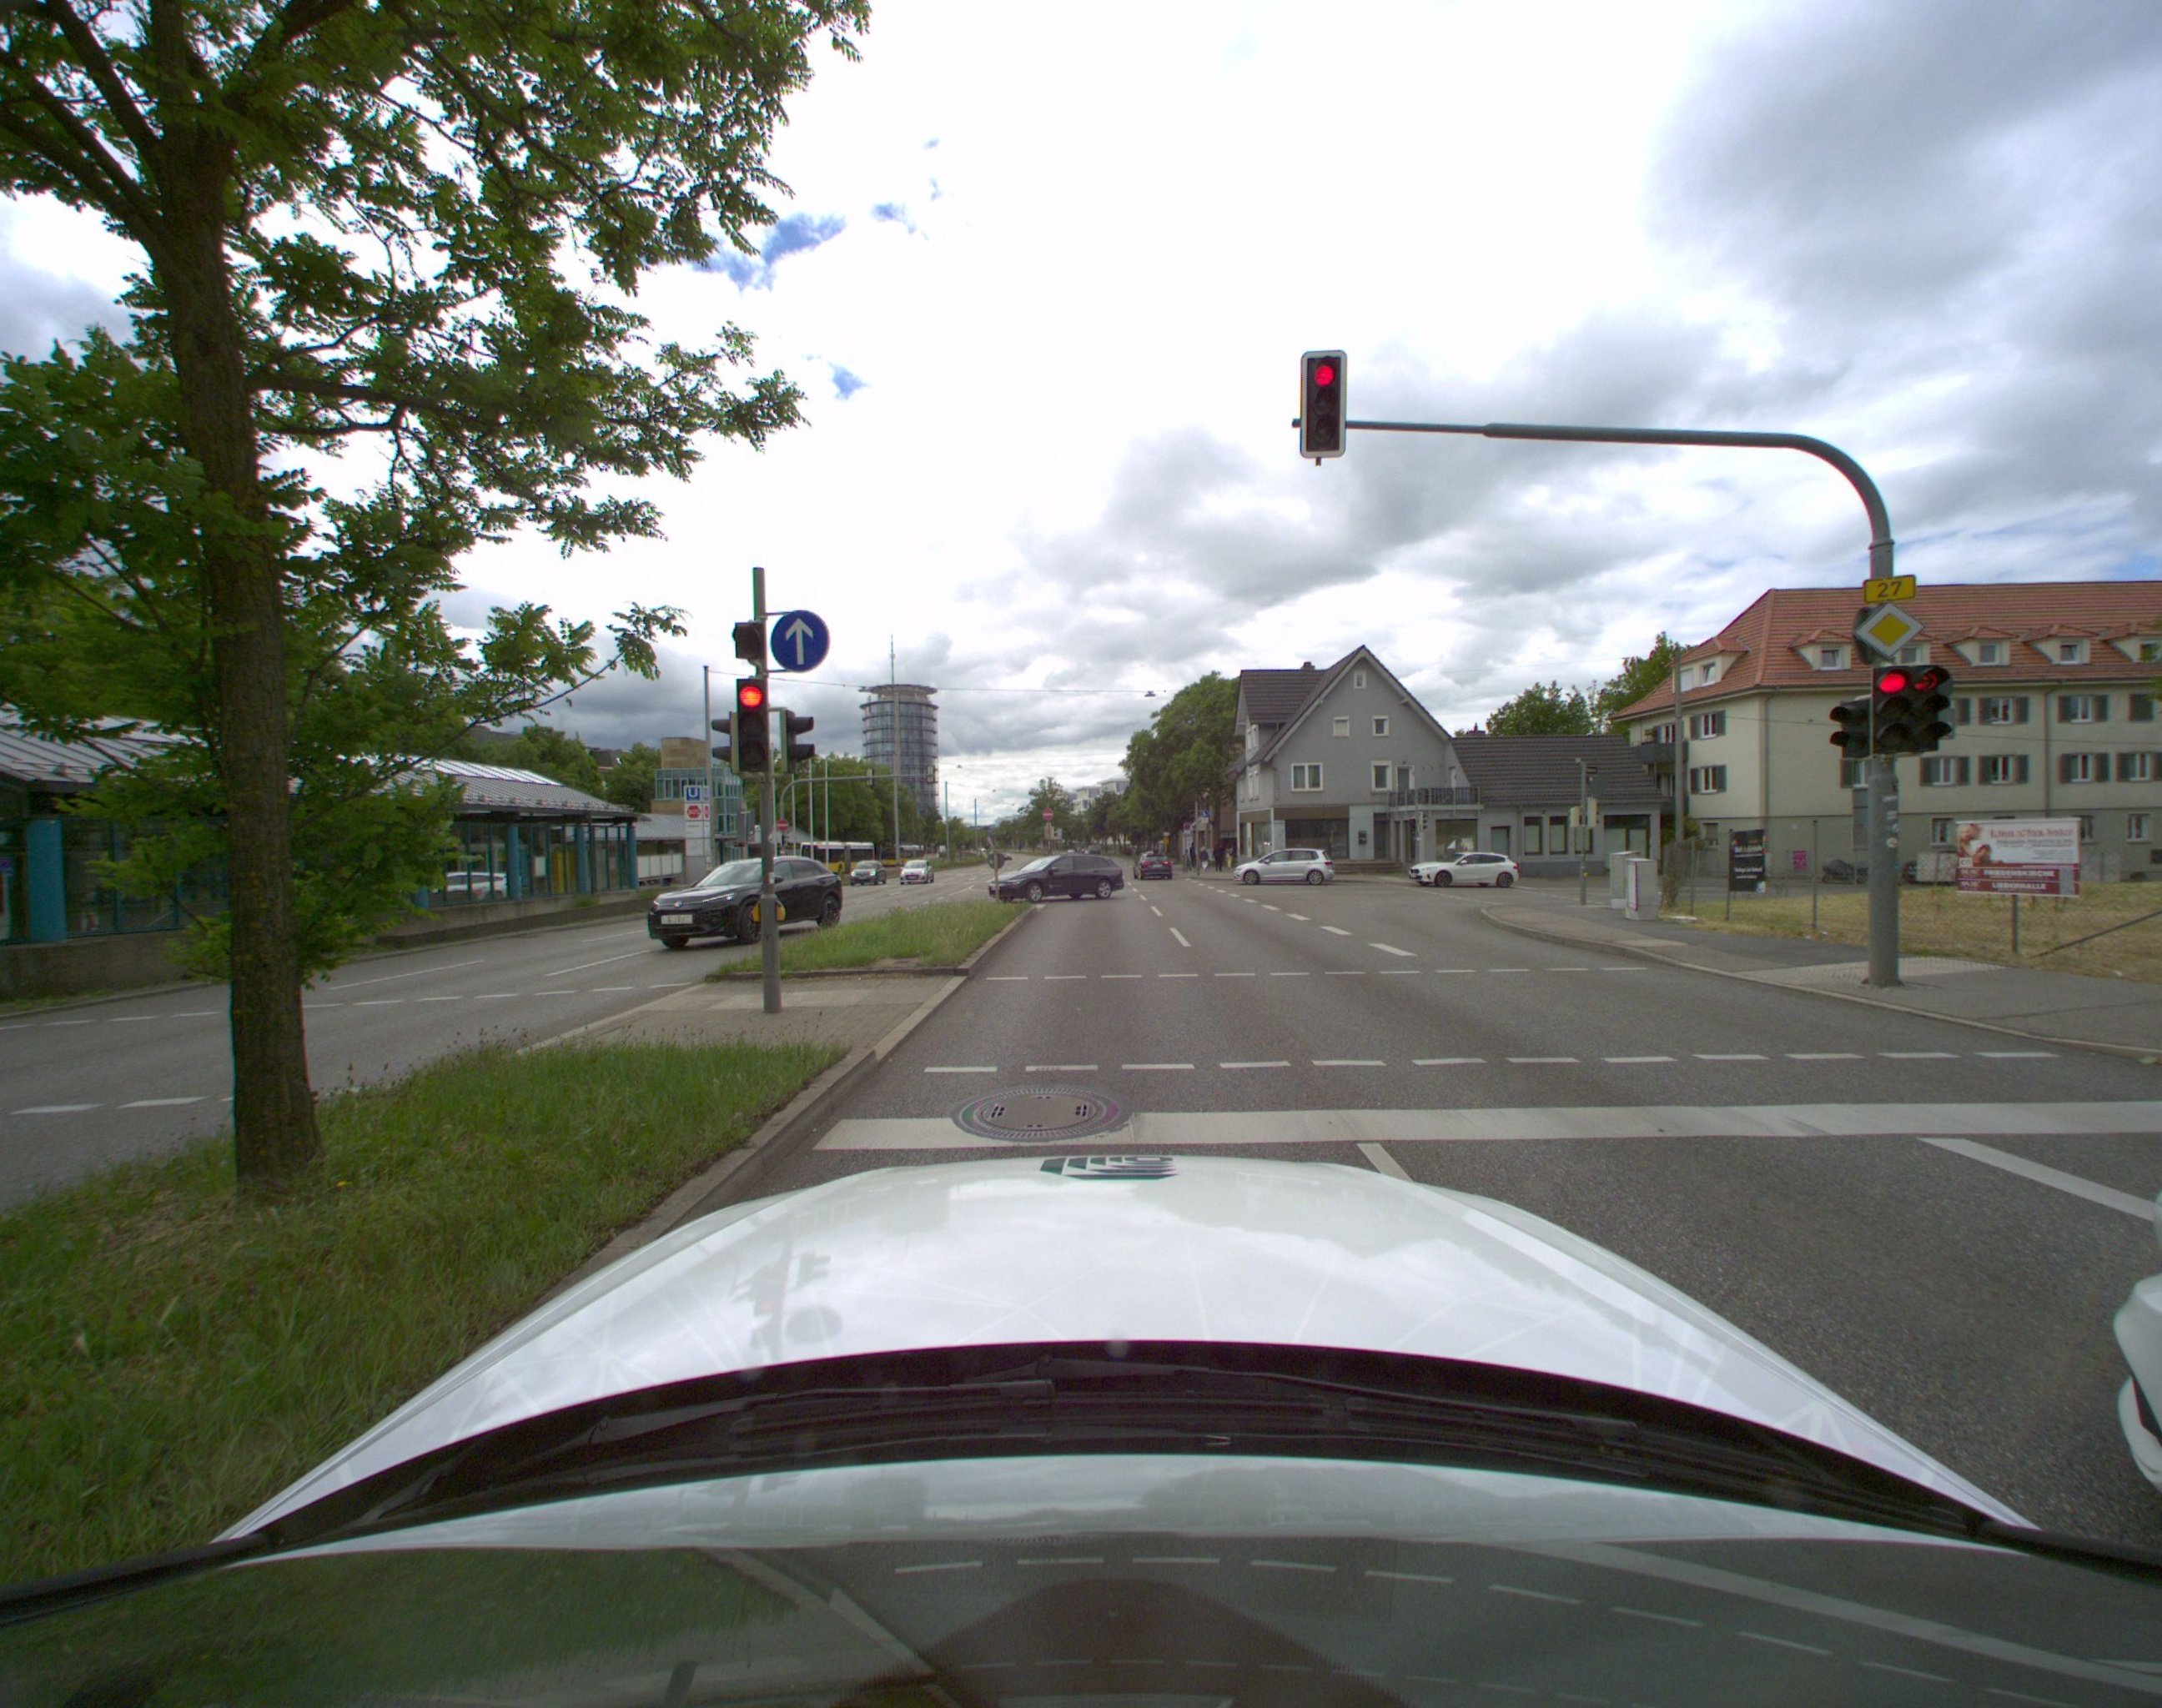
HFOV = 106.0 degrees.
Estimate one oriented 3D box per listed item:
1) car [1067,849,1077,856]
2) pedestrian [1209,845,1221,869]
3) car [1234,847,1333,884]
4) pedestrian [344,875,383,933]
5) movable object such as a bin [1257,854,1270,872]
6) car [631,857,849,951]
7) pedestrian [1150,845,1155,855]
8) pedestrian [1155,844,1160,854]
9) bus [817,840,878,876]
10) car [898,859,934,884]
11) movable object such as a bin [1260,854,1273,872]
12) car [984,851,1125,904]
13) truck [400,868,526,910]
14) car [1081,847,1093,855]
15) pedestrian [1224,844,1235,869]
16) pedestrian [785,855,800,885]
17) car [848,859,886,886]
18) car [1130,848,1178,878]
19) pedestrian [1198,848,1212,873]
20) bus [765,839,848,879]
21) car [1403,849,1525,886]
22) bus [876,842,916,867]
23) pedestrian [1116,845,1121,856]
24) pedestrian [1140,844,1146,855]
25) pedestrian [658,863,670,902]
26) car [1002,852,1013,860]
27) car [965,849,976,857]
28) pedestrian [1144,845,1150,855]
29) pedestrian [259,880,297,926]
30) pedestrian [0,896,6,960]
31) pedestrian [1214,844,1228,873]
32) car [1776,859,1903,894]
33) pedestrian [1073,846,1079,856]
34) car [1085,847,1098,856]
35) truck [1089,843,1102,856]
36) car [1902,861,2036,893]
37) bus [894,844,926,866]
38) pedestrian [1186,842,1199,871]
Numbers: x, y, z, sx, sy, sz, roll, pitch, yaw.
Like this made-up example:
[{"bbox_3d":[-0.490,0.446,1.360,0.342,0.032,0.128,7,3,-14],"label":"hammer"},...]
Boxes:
[{"bbox_3d":[-1.906,-0.351,173.477,1.963,1.420,4.017,-2,0,-3],"label":"car"},{"bbox_3d":[9.232,0.198,56.173,0.702,1.662,0.871,-2,0,2],"label":"pedestrian"},{"bbox_3d":[8.858,0.485,35.509,4.068,1.540,1.837,0,0,17],"label":"car"},{"bbox_3d":[-22.333,1.540,25.353,0.748,1.762,0.532,-2,0,13],"label":"pedestrian"},{"bbox_3d":[10.037,0.474,44.752,0.527,0.979,0.737,-2,0,2],"label":"movable object such as a bin"},{"bbox_3d":[-6.375,0.866,15.811,1.822,1.521,4.086,-1,0,13],"label":"car"},{"bbox_3d":[11.011,-0.579,126.030,0.649,1.570,0.669,-2,0,-6],"label":"pedestrian"},{"bbox_3d":[11.872,-0.788,126.216,0.649,1.570,0.669,-2,0,-6],"label":"pedestrian"},{"bbox_3d":[-23.351,0.371,81.873,2.975,3.270,7.889,-2,0,6],"label":"bus"},{"bbox_3d":[-10.340,1.056,51.328,1.680,1.462,3.552,-2,0,-3],"label":"car"},{"bbox_3d":[10.031,0.477,43.961,0.527,0.979,0.737,-2,0,2],"label":"movable object such as a bin"},{"bbox_3d":[-0.802,0.684,25.983,4.307,1.481,1.696,-1,1,-36],"label":"car"},{"bbox_3d":[-25.702,1.434,34.077,4.015,1.517,1.979,-2,0,-33],"label":"truck"},{"bbox_3d":[1.293,-0.552,174.112,2.246,1.647,4.927,-2,0,-3],"label":"car"},{"bbox_3d":[10.179,0.184,55.784,0.701,1.662,0.872,-2,0,10],"label":"pedestrian"},{"bbox_3d":[-18.784,1.049,53.063,0.658,1.897,0.686,-2,0,1],"label":"pedestrian"},{"bbox_3d":[-13.493,1.147,51.539,1.681,1.578,3.344,-2,0,-4],"label":"car"},{"bbox_3d":[3.938,0.502,44.548,1.886,1.494,4.092,-2,0,-4],"label":"car"},{"bbox_3d":[7.641,0.384,50.158,0.702,1.507,0.871,-2,0,2],"label":"pedestrian"},{"bbox_3d":[-24.323,0.404,72.874,2.975,3.250,10.186,-2,0,6],"label":"bus"},{"bbox_3d":[16.141,0.545,34.448,4.234,1.477,1.997,0,0,-4],"label":"car"},{"bbox_3d":[-26.093,0.099,115.323,3.135,3.225,10.282,-2,0,0],"label":"bus"},{"bbox_3d":[8.186,-0.731,178.775,0.930,2.308,1.008,0,-1,-8],"label":"pedestrian"},{"bbox_3d":[11.406,-0.794,150.310,0.967,2.014,0.981,0,-1,1],"label":"pedestrian"},{"bbox_3d":[-17.308,1.173,33.795,0.420,1.591,0.353,-2,0,-28],"label":"pedestrian"},{"bbox_3d":[-14.488,0.449,161.162,1.704,1.492,3.546,-2,0,-13],"label":"car"},{"bbox_3d":[-27.254,-0.168,201.224,1.958,2.014,4.001,0,-1,2],"label":"car"},{"bbox_3d":[10.239,-0.593,126.149,0.649,1.570,0.669,-2,0,-6],"label":"pedestrian"},{"bbox_3d":[-28.049,1.704,28.459,0.632,1.571,0.662,0,-1,3],"label":"pedestrian"},{"bbox_3d":[-28.506,1.951,21.034,0.520,1.655,0.709,-2,0,-5],"label":"pedestrian"},{"bbox_3d":[8.486,0.261,49.462,0.702,1.760,1.054,-2,0,5],"label":"pedestrian"},{"bbox_3d":[34.041,0.986,36.619,3.972,1.537,1.871,0,0,2],"label":"car"},{"bbox_3d":[-1.208,-0.829,199.246,1.231,2.402,1.306,-2,0,-8],"label":"pedestrian"},{"bbox_3d":[2.101,-0.469,165.289,2.246,1.757,4.928,-2,0,-3],"label":"car"},{"bbox_3d":[2.758,-0.813,156.676,2.246,2.416,4.928,-1,0,-3],"label":"truck"},{"bbox_3d":[39.810,1.023,36.581,3.972,1.377,1.871,0,0,2],"label":"car"},{"bbox_3d":[-26.035,0.125,124.333,3.134,3.225,7.765,-2,0,0],"label":"bus"},{"bbox_3d":[6.984,0.162,50.997,0.702,1.780,0.871,-2,0,4],"label":"pedestrian"}]
